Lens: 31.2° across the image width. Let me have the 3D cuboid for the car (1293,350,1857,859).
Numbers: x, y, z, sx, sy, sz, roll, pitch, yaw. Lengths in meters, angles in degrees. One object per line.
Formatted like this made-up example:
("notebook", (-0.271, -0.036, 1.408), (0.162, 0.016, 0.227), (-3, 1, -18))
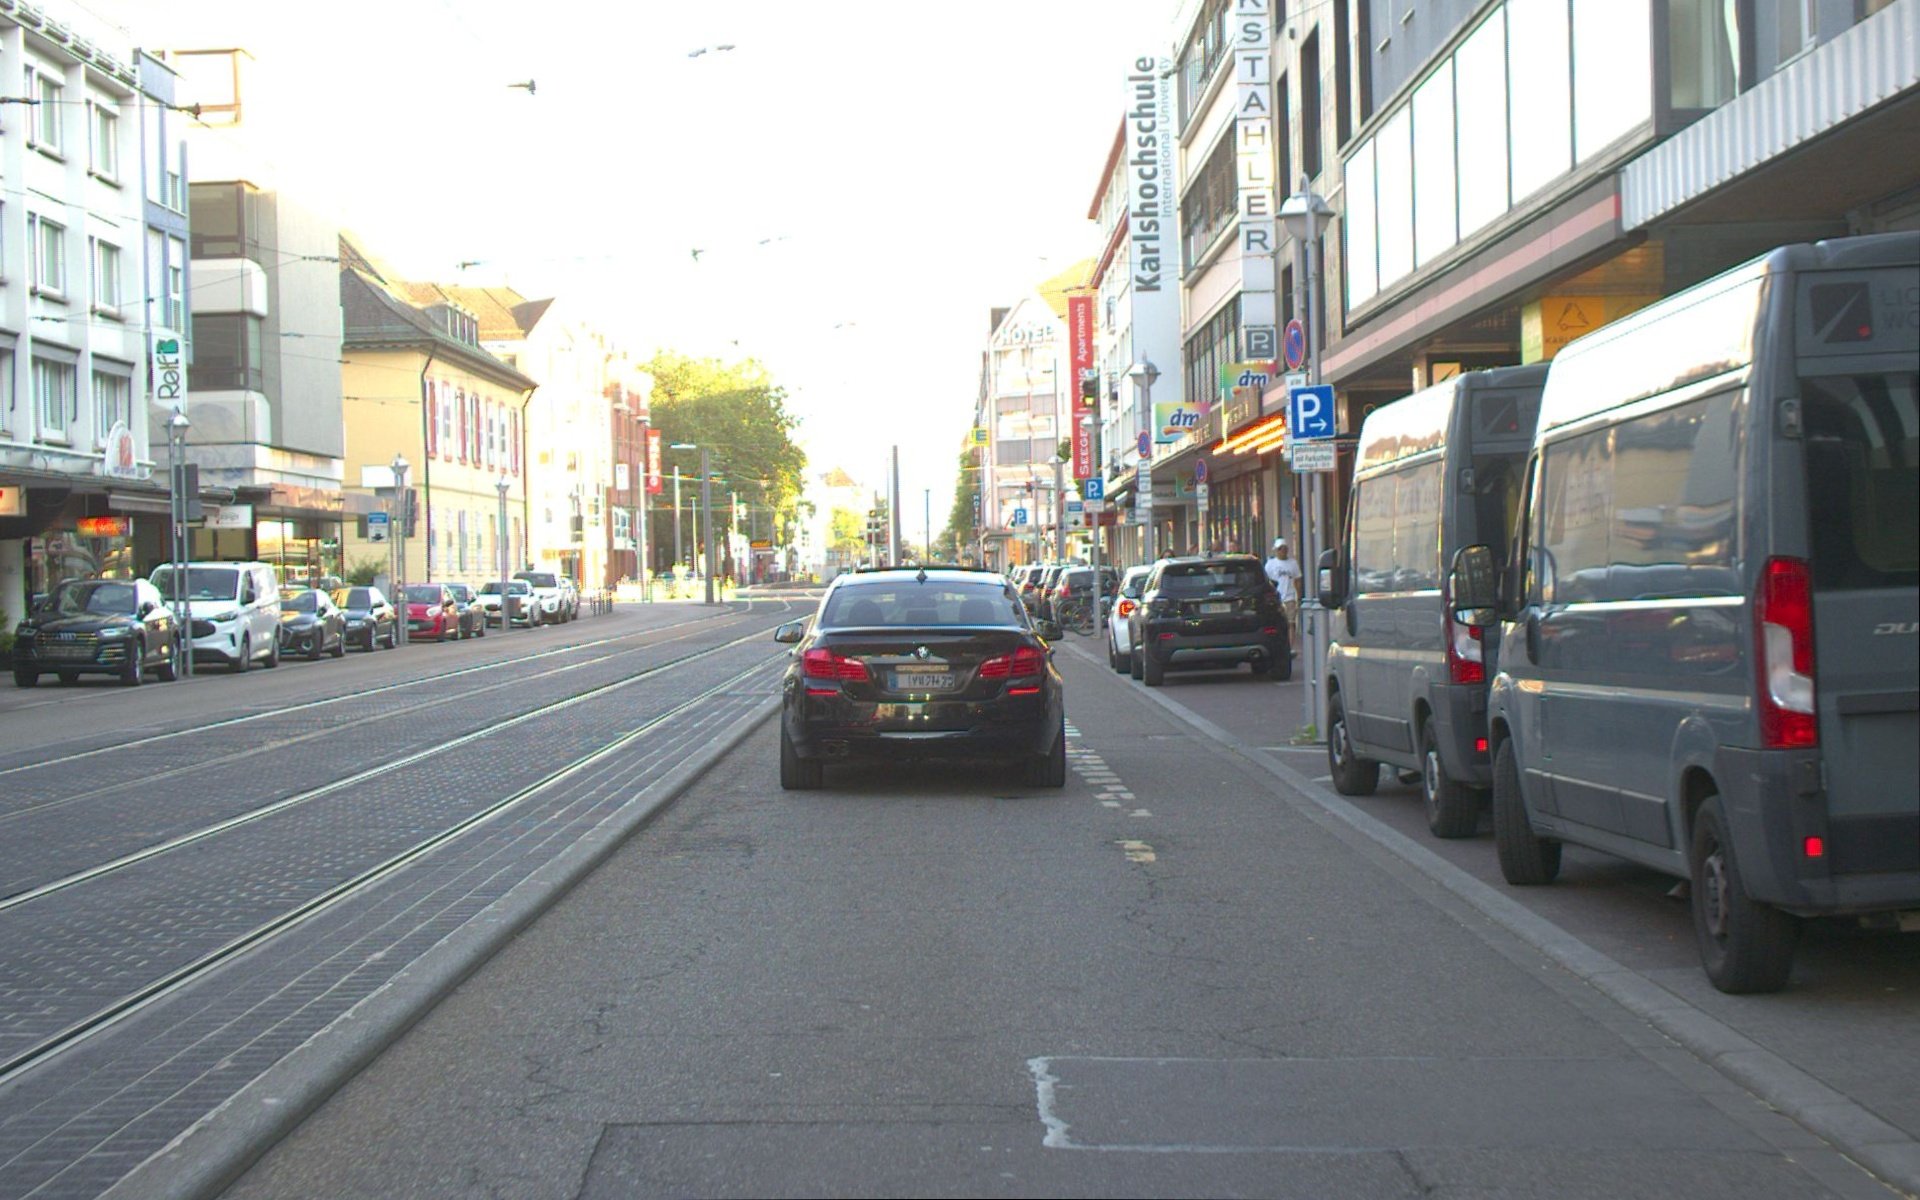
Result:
("car", (3.353, -0.001, 19.956), (2.033, 2.447, 5.410), (-3, 1, -2))

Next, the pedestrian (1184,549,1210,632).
("pedestrian", (4.849, -0.196, 70.366), (0.475, 1.693, 0.752), (-2, 0, 4))

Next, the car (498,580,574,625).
("car", (-13.672, 0.068, 111.028), (1.928, 1.430, 4.246), (0, 0, 0))

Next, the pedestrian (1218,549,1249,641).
("pedestrian", (5.404, -0.098, 68.000), (0.508, 1.786, 0.760), (-2, 0, 0))

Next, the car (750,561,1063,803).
("car", (-0.293, 0.508, 23.938), (1.953, 1.493, 4.465), (-1, 0, 1))

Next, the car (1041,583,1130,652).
("car", (2.917, 0.406, 80.588), (1.903, 1.543, 4.000), (-1, 0, 0))

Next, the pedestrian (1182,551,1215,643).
("pedestrian", (4.721, -0.066, 68.060), (0.554, 1.785, 0.760), (-2, 0, 0))

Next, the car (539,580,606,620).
("car", (-14.055, -0.010, 124.887), (1.928, 1.430, 4.246), (0, 0, 0))

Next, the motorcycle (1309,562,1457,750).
("motorcycle", (3.407, 0.433, 27.879), (0.844, 1.414, 2.165), (-4, 0, 0))

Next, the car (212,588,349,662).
("car", (-13.698, 0.483, 69.486), (1.928, 1.430, 4.246), (0, 0, 0))

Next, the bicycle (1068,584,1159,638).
("bicycle", (3.192, 0.229, 71.437), (1.861, 1.076, 0.468), (-1, -1, 1))

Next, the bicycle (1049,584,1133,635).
("bicycle", (2.943, 0.212, 77.233), (1.861, 1.115, 0.468), (-1, -1, 1))

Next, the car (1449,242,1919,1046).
("car", (3.482, 0.074, 13.570), (2.092, 2.447, 6.032), (-2, 1, 0))

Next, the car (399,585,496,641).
("car", (-13.557, 0.327, 91.123), (1.928, 1.430, 4.246), (0, 0, 0))

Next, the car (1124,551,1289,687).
("car", (2.996, 0.207, 42.435), (1.654, 1.532, 3.886), (-2, 1, 0))

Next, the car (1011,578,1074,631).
("car", (2.437, 0.132, 102.207), (1.774, 1.543, 3.503), (-1, 0, 0))

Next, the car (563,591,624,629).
("car", (-14.255, 0.388, 134.002), (1.928, 1.430, 4.246), (0, 0, 0))

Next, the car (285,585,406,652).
("car", (-13.596, 0.395, 76.282), (1.928, 1.430, 4.246), (0, 0, 0))

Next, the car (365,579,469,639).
("car", (-13.576, 0.211, 86.136), (1.928, 1.430, 4.246), (0, 0, 0))

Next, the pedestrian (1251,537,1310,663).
("pedestrian", (4.551, -0.005, 48.826), (0.689, 1.734, 0.820), (-3, 0, 1))

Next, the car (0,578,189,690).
("car", (-13.569, 0.503, 54.096), (1.860, 1.672, 4.464), (0, 0, 0))

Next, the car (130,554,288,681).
("car", (-13.499, 0.283, 62.069), (1.993, 2.149, 4.911), (-1, 0, -3))

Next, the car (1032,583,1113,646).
("car", (2.829, 0.375, 87.434), (1.903, 1.543, 3.780), (-1, -1, 0))

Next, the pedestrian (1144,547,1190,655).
("pedestrian", (3.192, 0.010, 53.111), (0.556, 1.642, 0.760), (-2, 0, -4))

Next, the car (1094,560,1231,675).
("car", (2.769, 0.221, 47.581), (1.559, 1.437, 3.709), (-4, 1, 0))

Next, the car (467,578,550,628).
("car", (-13.726, 0.072, 104.656), (1.928, 1.430, 4.246), (-2, 1, 0))
